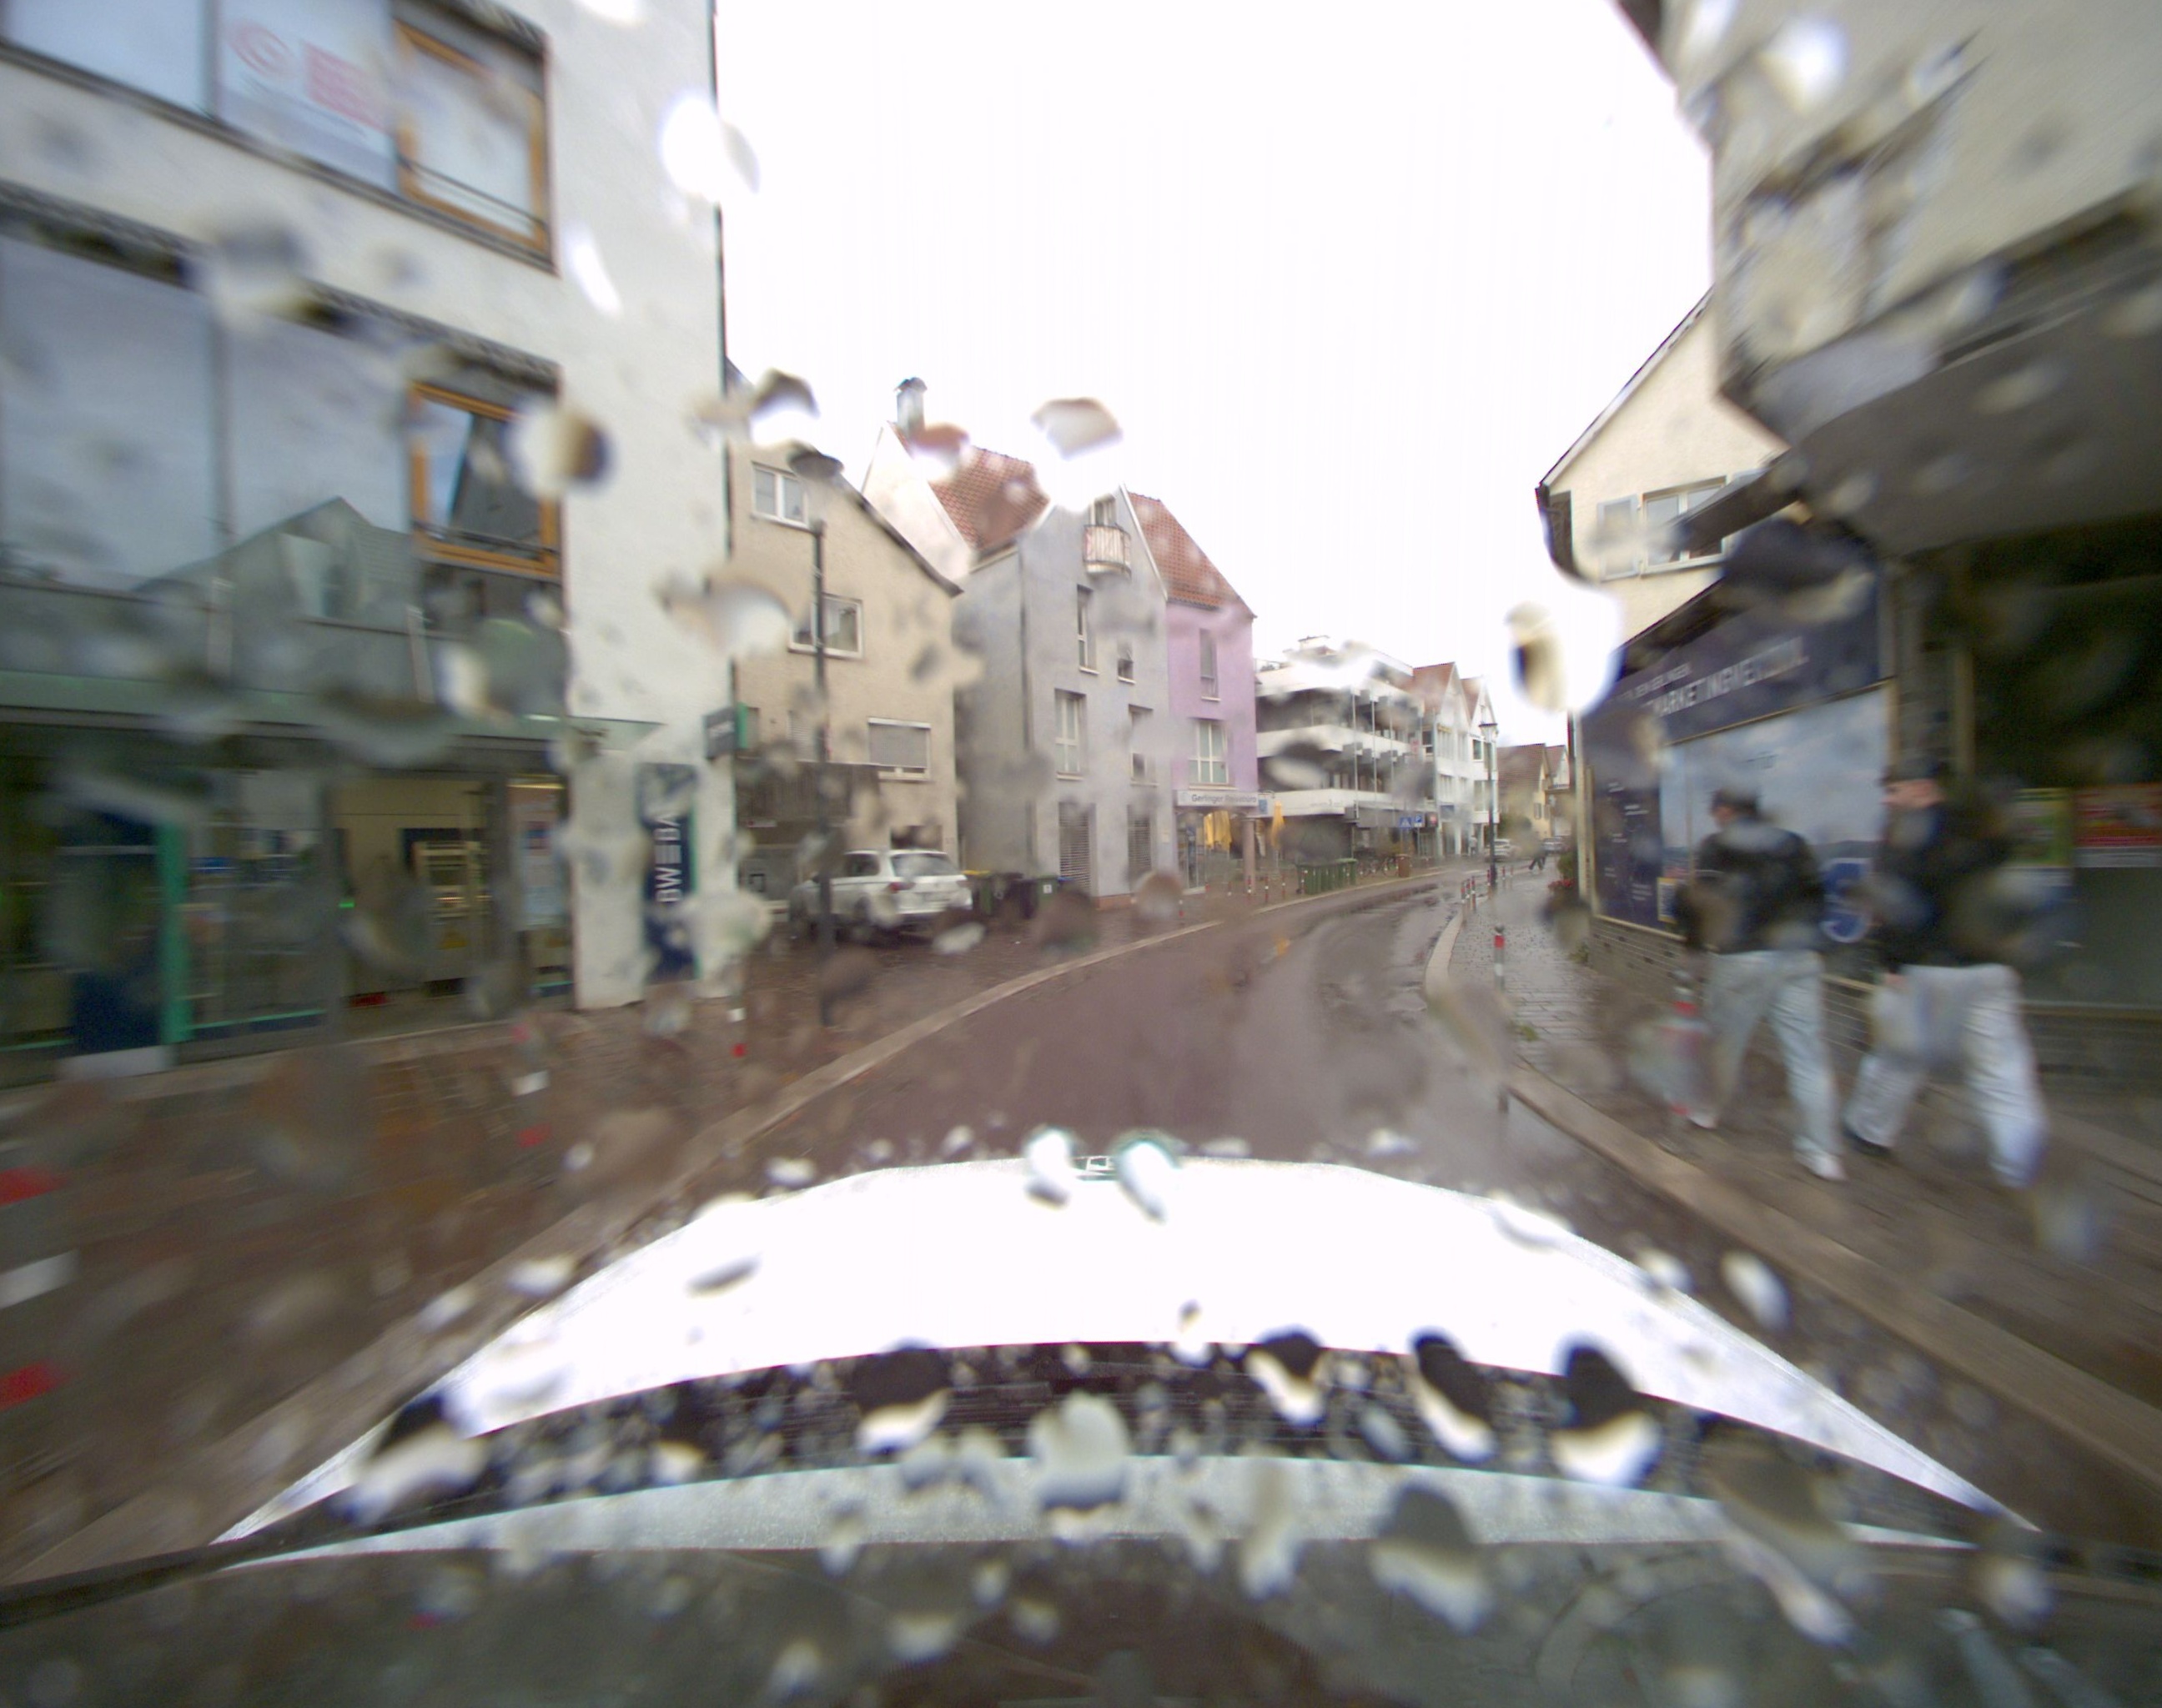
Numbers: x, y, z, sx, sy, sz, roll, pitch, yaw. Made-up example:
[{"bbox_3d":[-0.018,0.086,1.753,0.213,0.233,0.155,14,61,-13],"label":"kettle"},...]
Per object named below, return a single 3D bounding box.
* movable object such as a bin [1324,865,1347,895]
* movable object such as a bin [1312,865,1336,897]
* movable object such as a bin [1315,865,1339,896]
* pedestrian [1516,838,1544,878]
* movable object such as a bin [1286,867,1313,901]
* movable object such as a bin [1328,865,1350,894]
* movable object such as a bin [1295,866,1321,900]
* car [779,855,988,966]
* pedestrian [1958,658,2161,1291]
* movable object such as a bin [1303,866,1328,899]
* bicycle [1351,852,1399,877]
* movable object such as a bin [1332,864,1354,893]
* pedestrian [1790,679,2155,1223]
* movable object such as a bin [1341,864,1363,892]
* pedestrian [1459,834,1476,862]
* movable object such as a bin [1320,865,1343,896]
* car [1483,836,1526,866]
[{"bbox_3d":[10.012,1.014,32.064,0.626,1.128,0.580,-5,-3,35],"label":"movable object such as a bin"},{"bbox_3d":[8.935,1.006,29.911,0.626,1.128,0.580,-5,-3,35],"label":"movable object such as a bin"},{"bbox_3d":[9.290,1.013,30.736,0.626,1.128,0.580,-5,-3,35],"label":"movable object such as a bin"},{"bbox_3d":[23.551,0.210,42.729,1.130,2.013,0.833,-3,0,35],"label":"pedestrian"},{"bbox_3d":[7.436,1.021,27.693,0.626,1.128,0.580,-5,-3,35],"label":"movable object such as a bin"},{"bbox_3d":[10.364,1.015,32.717,0.626,1.128,0.580,-5,-3,35],"label":"movable object such as a bin"},{"bbox_3d":[7.897,1.015,28.334,0.626,1.128,0.580,-5,-3,35],"label":"movable object such as a bin"},{"bbox_3d":[-3.707,0.973,14.851,2.011,1.676,3.951,-2,-2,-42],"label":"car"},{"bbox_3d":[3.813,0.373,2.825,0.645,2.014,0.765,-4,-2,21],"label":"pedestrian"},{"bbox_3d":[8.360,1.010,29.019,0.626,1.128,0.580,-5,-3,35],"label":"movable object such as a bin"},{"bbox_3d":[17.002,0.623,47.116,2.279,1.314,1.016,-5,-3,40],"label":"bicycle"},{"bbox_3d":[10.681,1.014,33.245,0.626,1.128,0.580,-5,-3,35],"label":"movable object such as a bin"},{"bbox_3d":[3.706,0.373,3.490,0.645,2.014,0.765,-4,-2,21],"label":"pedestrian"},{"bbox_3d":[11.216,0.990,33.711,0.626,1.128,0.580,-5,-3,35],"label":"movable object such as a bin"},{"bbox_3d":[29.136,-0.443,61.346,0.827,2.014,1.014,-5,-3,39],"label":"pedestrian"},{"bbox_3d":[9.668,1.014,31.439,0.626,1.128,0.580,-5,-3,35],"label":"movable object such as a bin"},{"bbox_3d":[30.841,-0.220,59.232,1.974,2.014,4.026,-5,-3,37],"label":"car"}]
